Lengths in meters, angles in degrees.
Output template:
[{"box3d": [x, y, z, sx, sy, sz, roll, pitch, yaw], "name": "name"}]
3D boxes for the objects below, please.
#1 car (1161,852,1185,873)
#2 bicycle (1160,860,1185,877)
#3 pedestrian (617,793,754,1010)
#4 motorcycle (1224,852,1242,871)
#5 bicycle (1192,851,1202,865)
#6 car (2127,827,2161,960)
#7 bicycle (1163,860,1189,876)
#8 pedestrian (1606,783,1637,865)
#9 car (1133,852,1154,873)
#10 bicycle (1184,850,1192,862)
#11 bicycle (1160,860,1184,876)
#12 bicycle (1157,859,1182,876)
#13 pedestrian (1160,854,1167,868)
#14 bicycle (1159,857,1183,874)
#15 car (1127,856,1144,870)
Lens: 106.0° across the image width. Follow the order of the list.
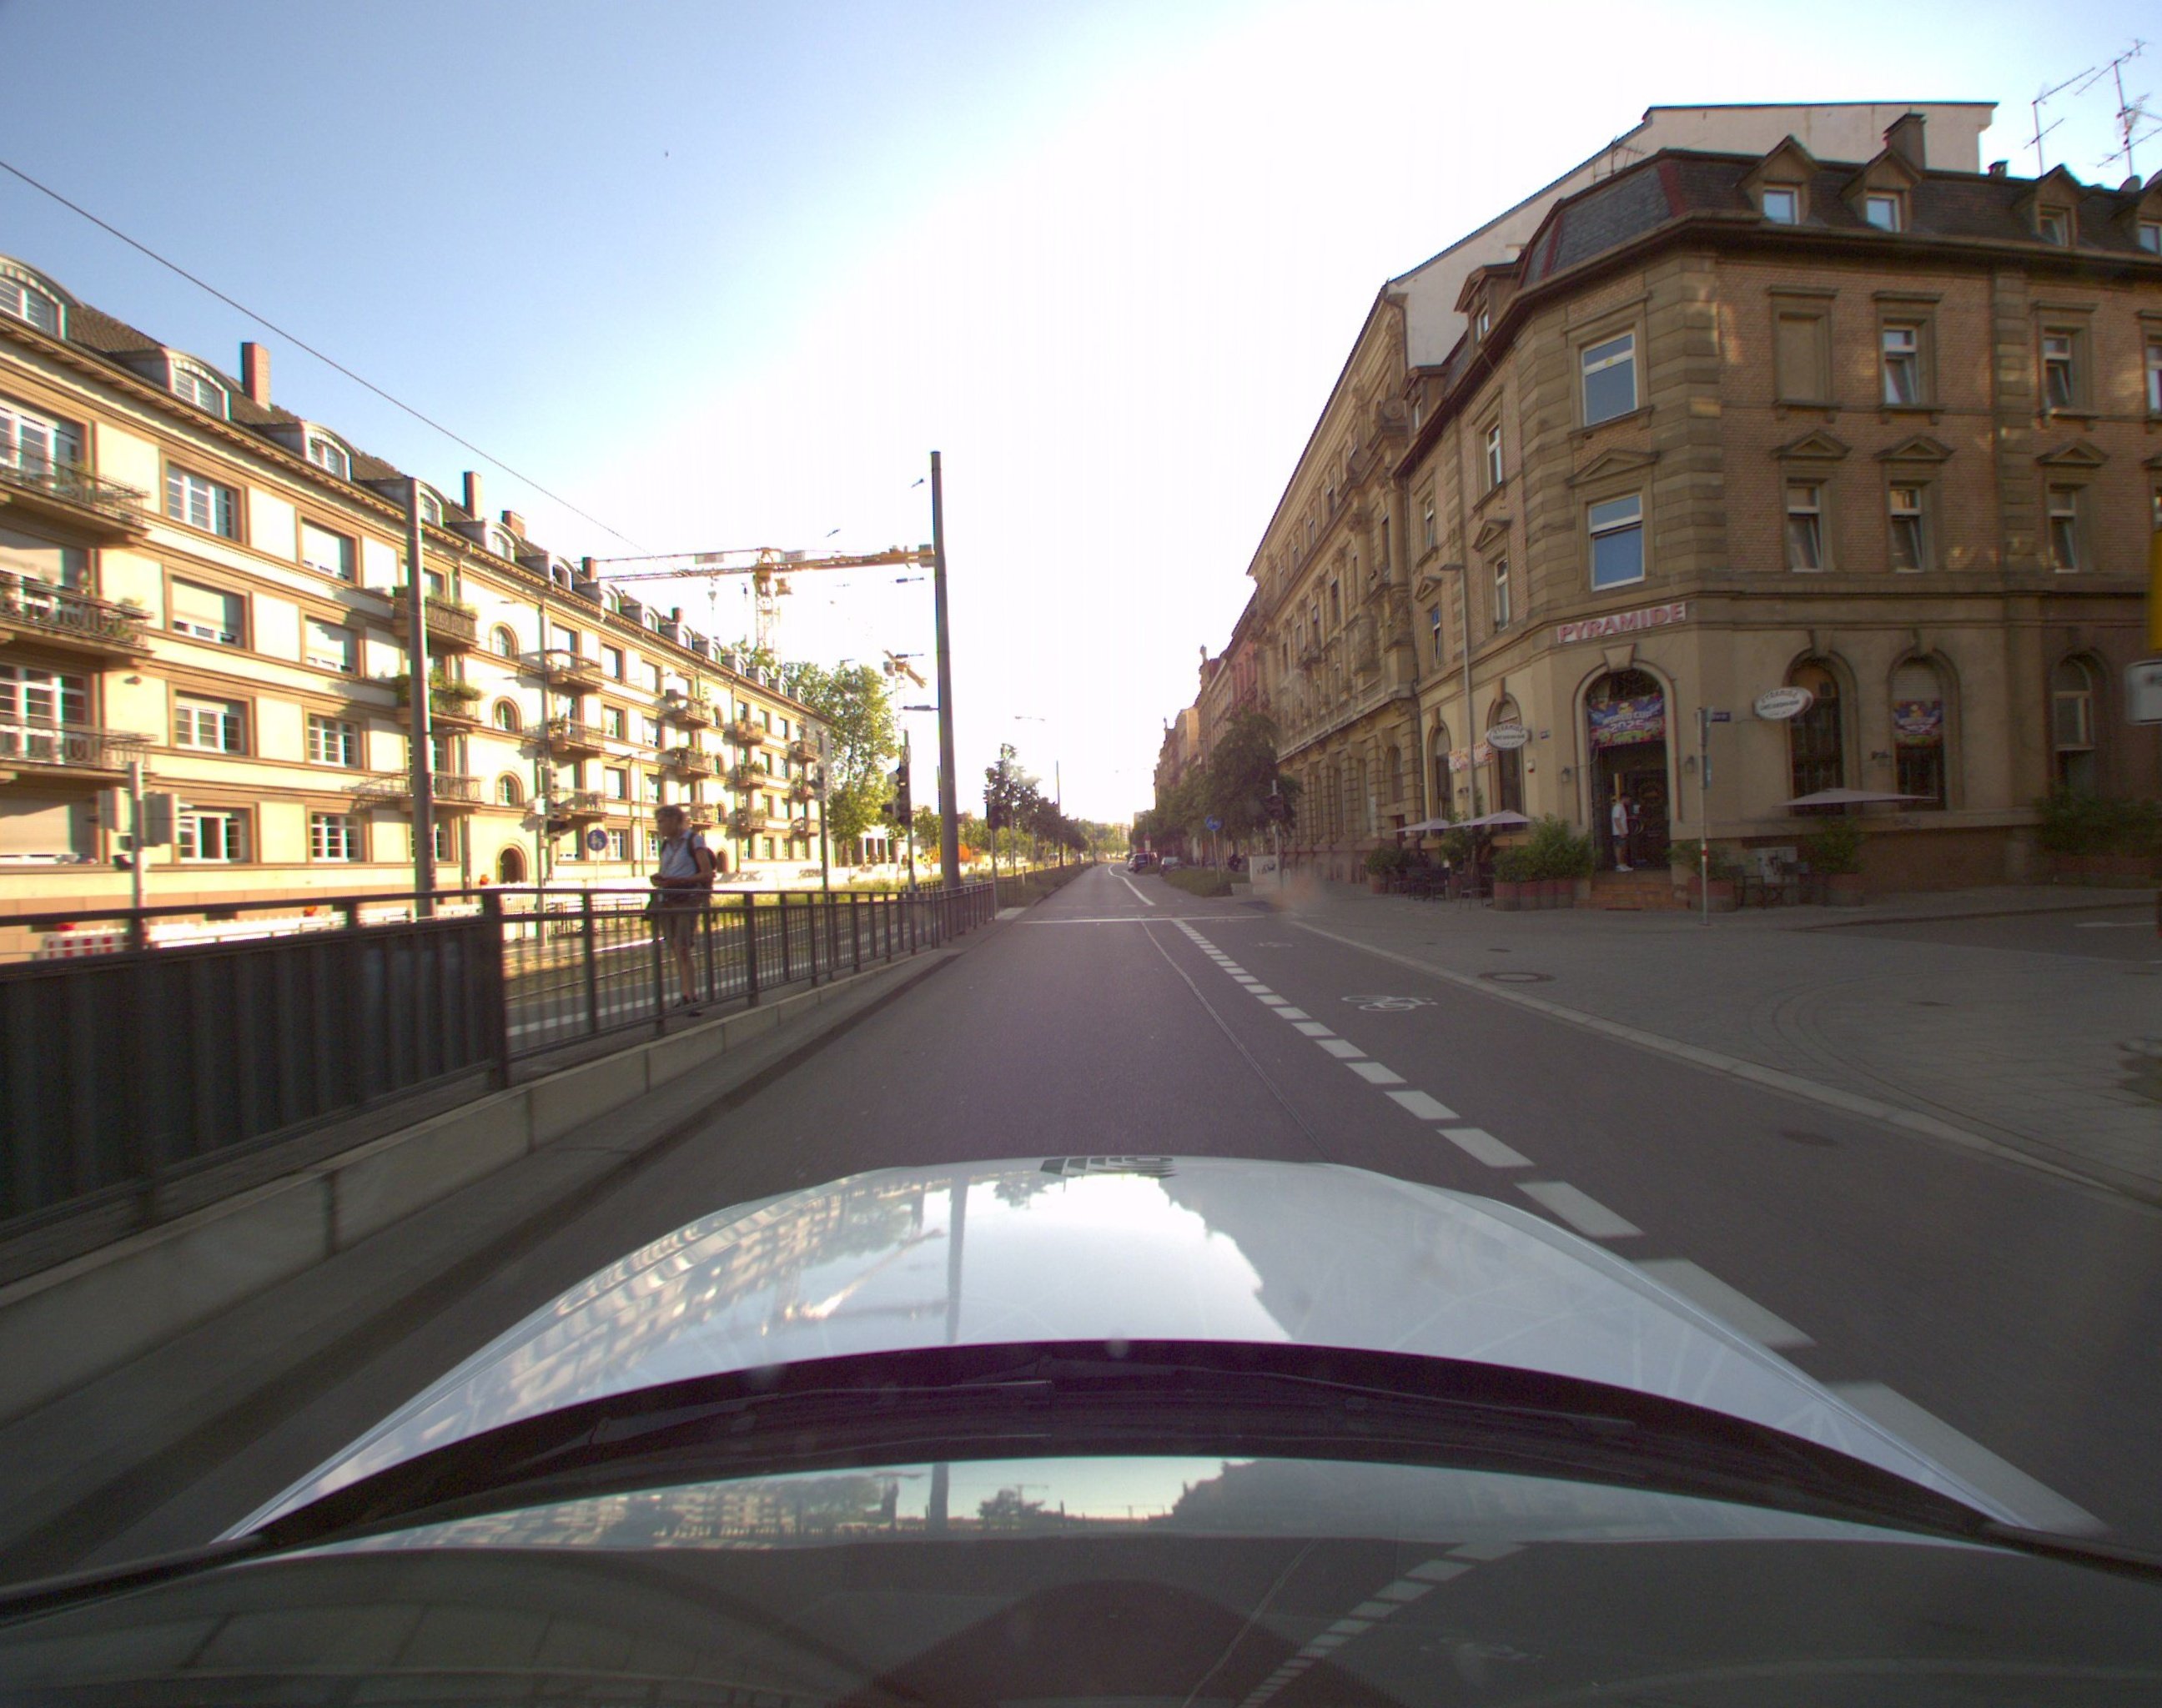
[{"box3d": [7.404, 0.691, 65.998, 1.630, 1.486, 4.216, -4, 1, 4], "name": "car"}, {"box3d": [6.315, 1.009, 56.040, 1.574, 1.048, 0.488, -4, 0, -7], "name": "bicycle"}, {"box3d": [-3.209, 0.374, 6.681, 0.652, 1.643, 0.867, -2, -2, 1], "name": "pedestrian"}, {"box3d": [11.326, 0.546, 60.746, 0.792, 1.308, 2.853, -5, 1, 1], "name": "motorcycle"}, {"box3d": [12.631, 0.410, 88.842, 0.658, 1.402, 2.353, -3, 1, 1], "name": "bicycle"}, {"box3d": [13.428, 0.290, 8.303, 4.142, 1.388, 1.612, -3, -1, -10], "name": "car"}, {"box3d": [6.669, 0.977, 57.326, 1.689, 1.048, 0.488, -4, 0, -7], "name": "bicycle"}, {"box3d": [11.696, -0.638, 17.626, 0.442, 1.740, 0.546, -3, -1, 29], "name": "pedestrian"}, {"box3d": [6.305, 0.840, 82.475, 1.877, 1.937, 4.477, -3, 1, 3], "name": "car"}, {"box3d": [13.115, 0.256, 100.217, 0.658, 1.402, 2.353, -3, 1, 1], "name": "bicycle"}, {"box3d": [6.450, 0.982, 57.867, 1.574, 1.048, 0.488, -4, 0, -7], "name": "bicycle"}, {"box3d": [6.400, 0.968, 58.990, 1.685, 1.048, 0.490, -5, 0, 1], "name": "bicycle"}, {"box3d": [8.729, 0.733, 86.242, 0.623, 1.460, 0.638, -3, 0, 1], "name": "pedestrian"}, {"box3d": [6.673, 0.832, 60.320, 1.685, 1.048, 0.489, -6, 0, 1], "name": "bicycle"}, {"box3d": [6.405, 1.025, 95.755, 1.842, 1.457, 4.160, -3, 1, 3], "name": "car"}]
